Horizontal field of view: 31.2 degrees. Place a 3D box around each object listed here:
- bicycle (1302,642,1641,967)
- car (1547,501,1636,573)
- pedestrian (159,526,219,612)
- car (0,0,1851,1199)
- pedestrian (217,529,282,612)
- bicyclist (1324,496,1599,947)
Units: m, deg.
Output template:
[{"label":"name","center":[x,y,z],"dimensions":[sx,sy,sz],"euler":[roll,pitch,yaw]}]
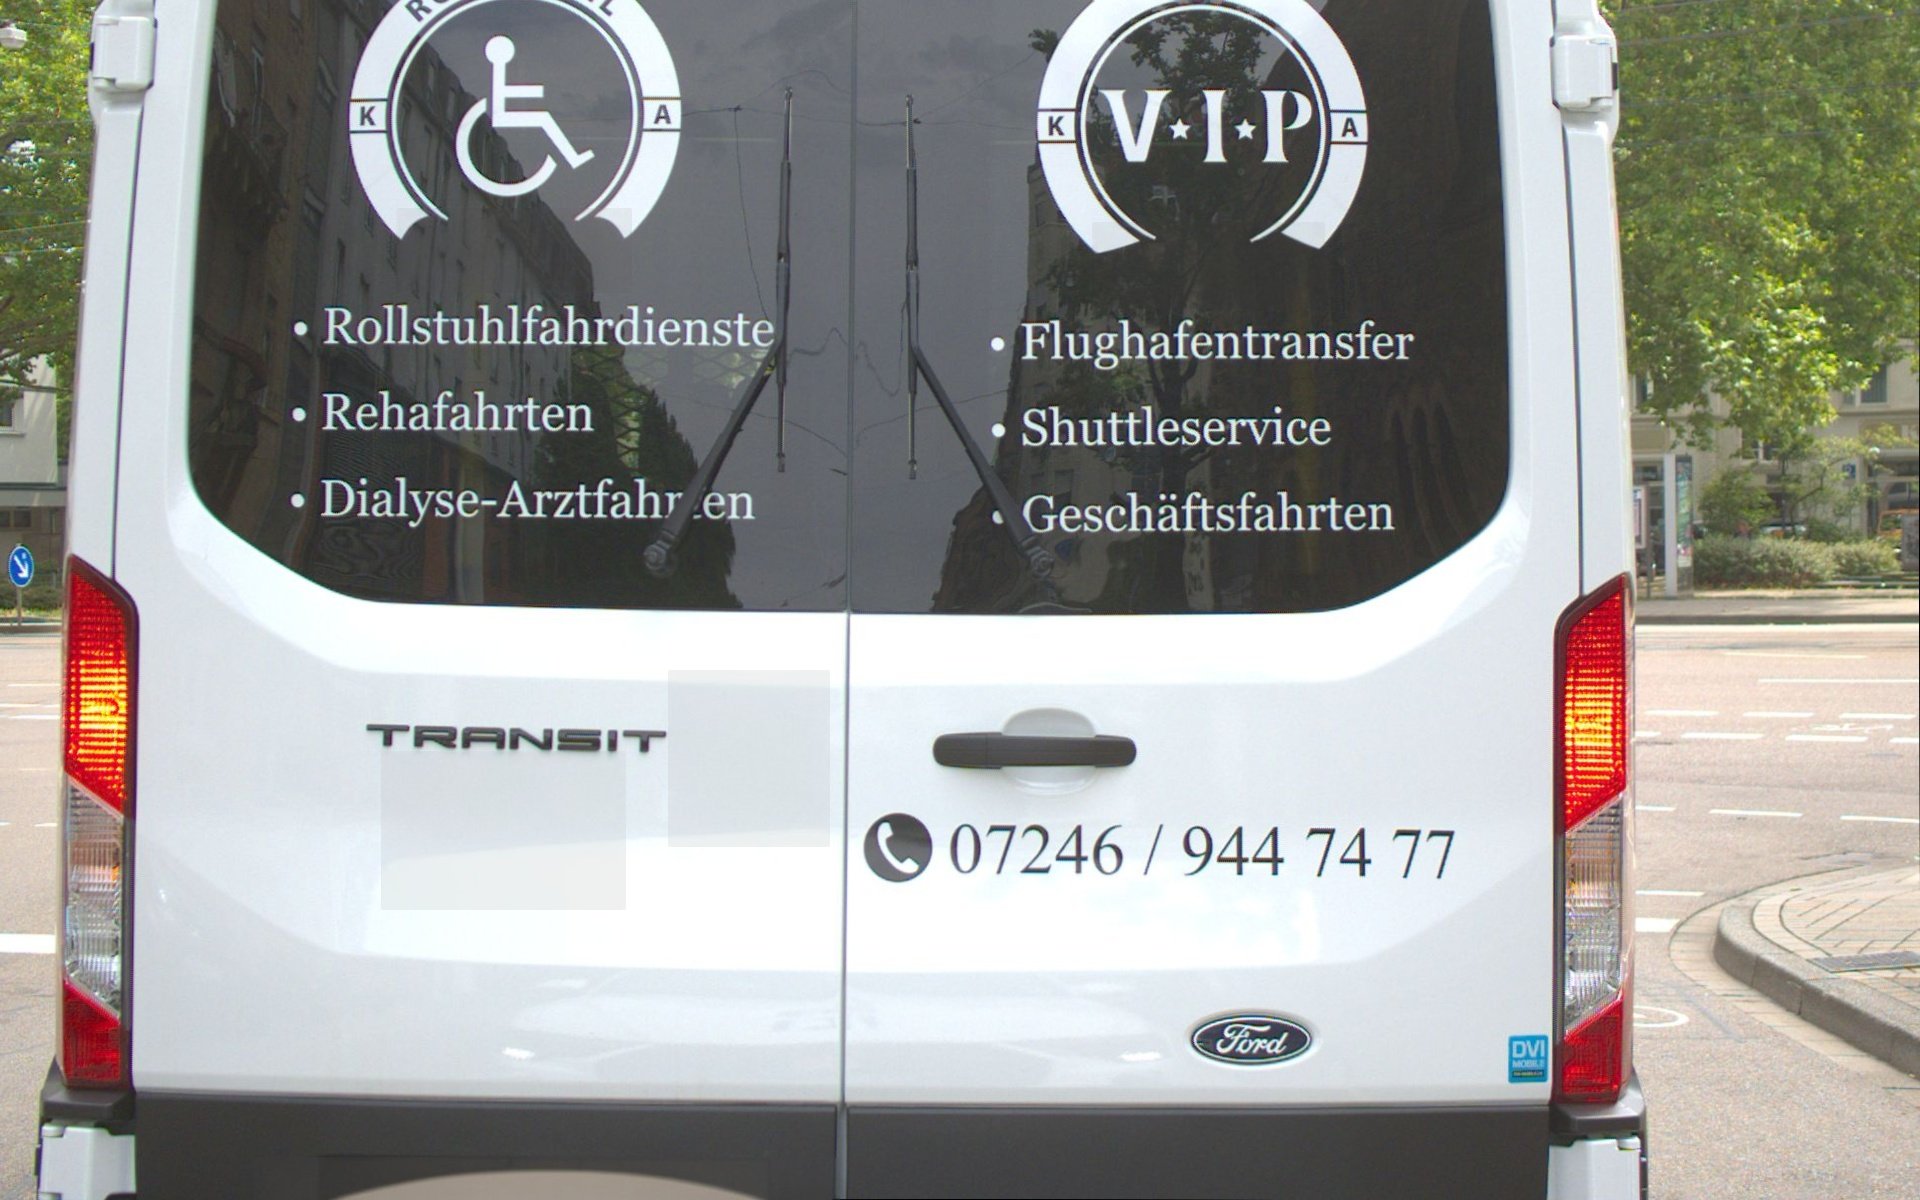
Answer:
[{"label":"bicycle","center":[1.918,0.739,13.206],"dimensions":[0.902,1.071,1.970],"euler":[-1,1,-3]},{"label":"car","center":[17.399,-1.745,94.839],"dimensions":[1.994,1.924,4.000],"euler":[-1,1,4]},{"label":"pedestrian","center":[-14.224,-0.570,63.440],"dimensions":[0.807,1.567,0.723],"euler":[0,1,14]},{"label":"car","center":[-0.182,0.035,6.160],"dimensions":[2.181,2.638,4.629],"euler":[1,2,-2]},{"label":"pedestrian","center":[-13.084,-0.539,63.315],"dimensions":[0.930,1.509,0.723],"euler":[0,1,14]},{"label":"bicyclist","center":[1.917,0.444,13.239],"dimensions":[0.903,1.677,0.757],"euler":[-1,1,-3]}]
